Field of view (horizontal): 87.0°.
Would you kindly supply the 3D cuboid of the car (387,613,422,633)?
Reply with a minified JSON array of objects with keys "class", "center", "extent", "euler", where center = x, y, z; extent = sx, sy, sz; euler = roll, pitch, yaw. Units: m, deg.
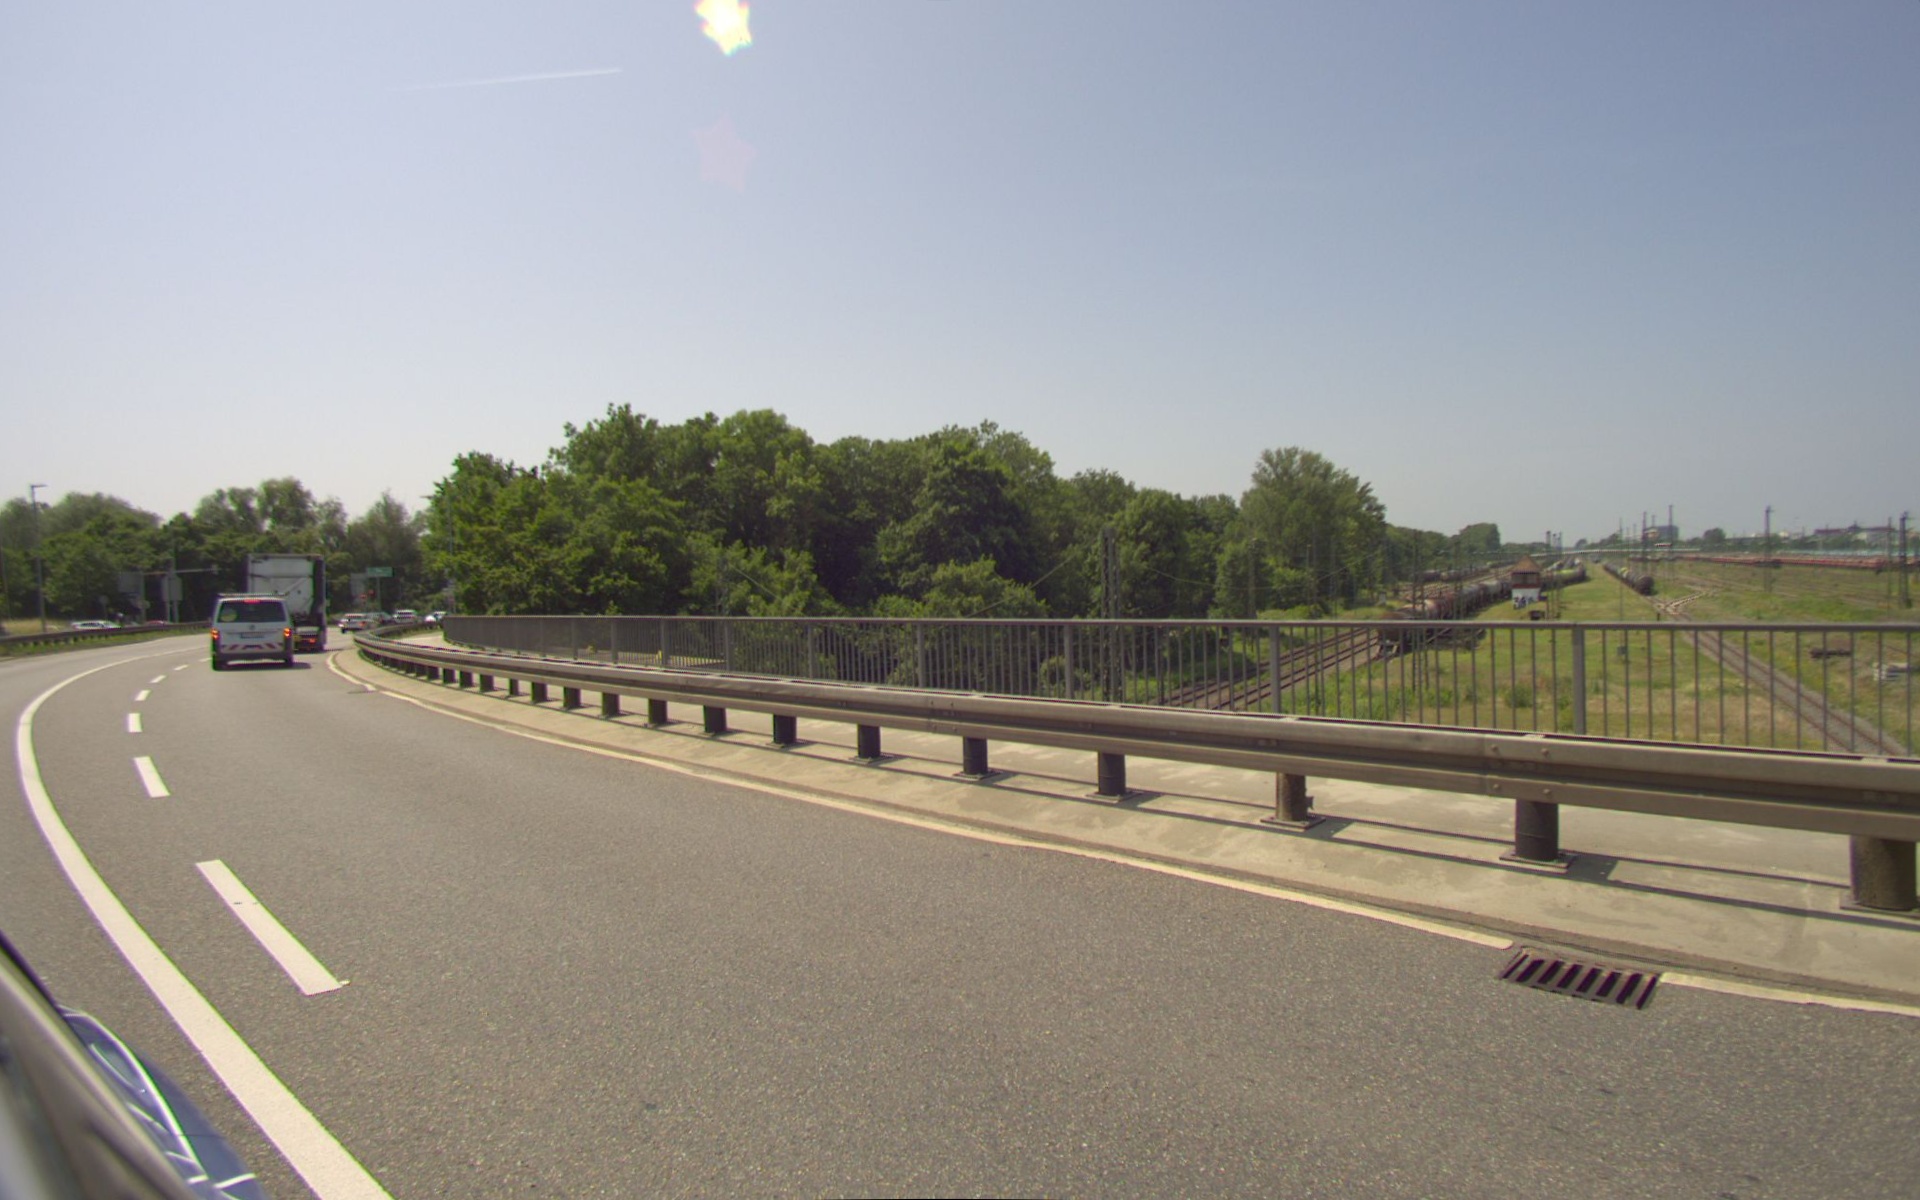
[{"class":"car","center":[-47.935,1.956,87.463],"extent":[1.802,1.651,4.592],"euler":[-1,-1,-18]}]

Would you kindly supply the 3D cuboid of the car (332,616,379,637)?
[{"class":"car","center":[-44.508,1.925,74.660],"extent":[1.802,1.417,4.902],"euler":[0,-1,-16]}]

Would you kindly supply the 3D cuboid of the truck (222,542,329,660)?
[{"class":"truck","center":[-25.533,0.105,38.024],"extent":[2.668,4.022,6.205],"euler":[0,-1,-28]}]

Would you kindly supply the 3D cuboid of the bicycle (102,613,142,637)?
[{"class":"bicycle","center":[-56.747,1.686,68.539],"extent":[2.347,1.586,0.655],"euler":[-2,0,9]}]

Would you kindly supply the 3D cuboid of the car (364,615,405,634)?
[{"class":"car","center":[-45.818,1.944,80.704],"extent":[1.802,1.417,4.560],"euler":[-1,0,-16]}]

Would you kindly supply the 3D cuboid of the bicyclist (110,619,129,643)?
[{"class":"bicyclist","center":[-56.976,2.111,68.591],"extent":[0.683,1.611,0.669],"euler":[-2,0,8]}]

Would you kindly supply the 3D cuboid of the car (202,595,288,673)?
[{"class":"car","center":[-20.132,0.913,28.635],"extent":[1.836,2.015,4.826],"euler":[0,-1,-34]}]

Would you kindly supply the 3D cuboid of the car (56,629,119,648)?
[{"class":"car","center":[-79.164,3.501,91.875],"extent":[4.242,1.517,1.865],"euler":[-2,0,5]}]
